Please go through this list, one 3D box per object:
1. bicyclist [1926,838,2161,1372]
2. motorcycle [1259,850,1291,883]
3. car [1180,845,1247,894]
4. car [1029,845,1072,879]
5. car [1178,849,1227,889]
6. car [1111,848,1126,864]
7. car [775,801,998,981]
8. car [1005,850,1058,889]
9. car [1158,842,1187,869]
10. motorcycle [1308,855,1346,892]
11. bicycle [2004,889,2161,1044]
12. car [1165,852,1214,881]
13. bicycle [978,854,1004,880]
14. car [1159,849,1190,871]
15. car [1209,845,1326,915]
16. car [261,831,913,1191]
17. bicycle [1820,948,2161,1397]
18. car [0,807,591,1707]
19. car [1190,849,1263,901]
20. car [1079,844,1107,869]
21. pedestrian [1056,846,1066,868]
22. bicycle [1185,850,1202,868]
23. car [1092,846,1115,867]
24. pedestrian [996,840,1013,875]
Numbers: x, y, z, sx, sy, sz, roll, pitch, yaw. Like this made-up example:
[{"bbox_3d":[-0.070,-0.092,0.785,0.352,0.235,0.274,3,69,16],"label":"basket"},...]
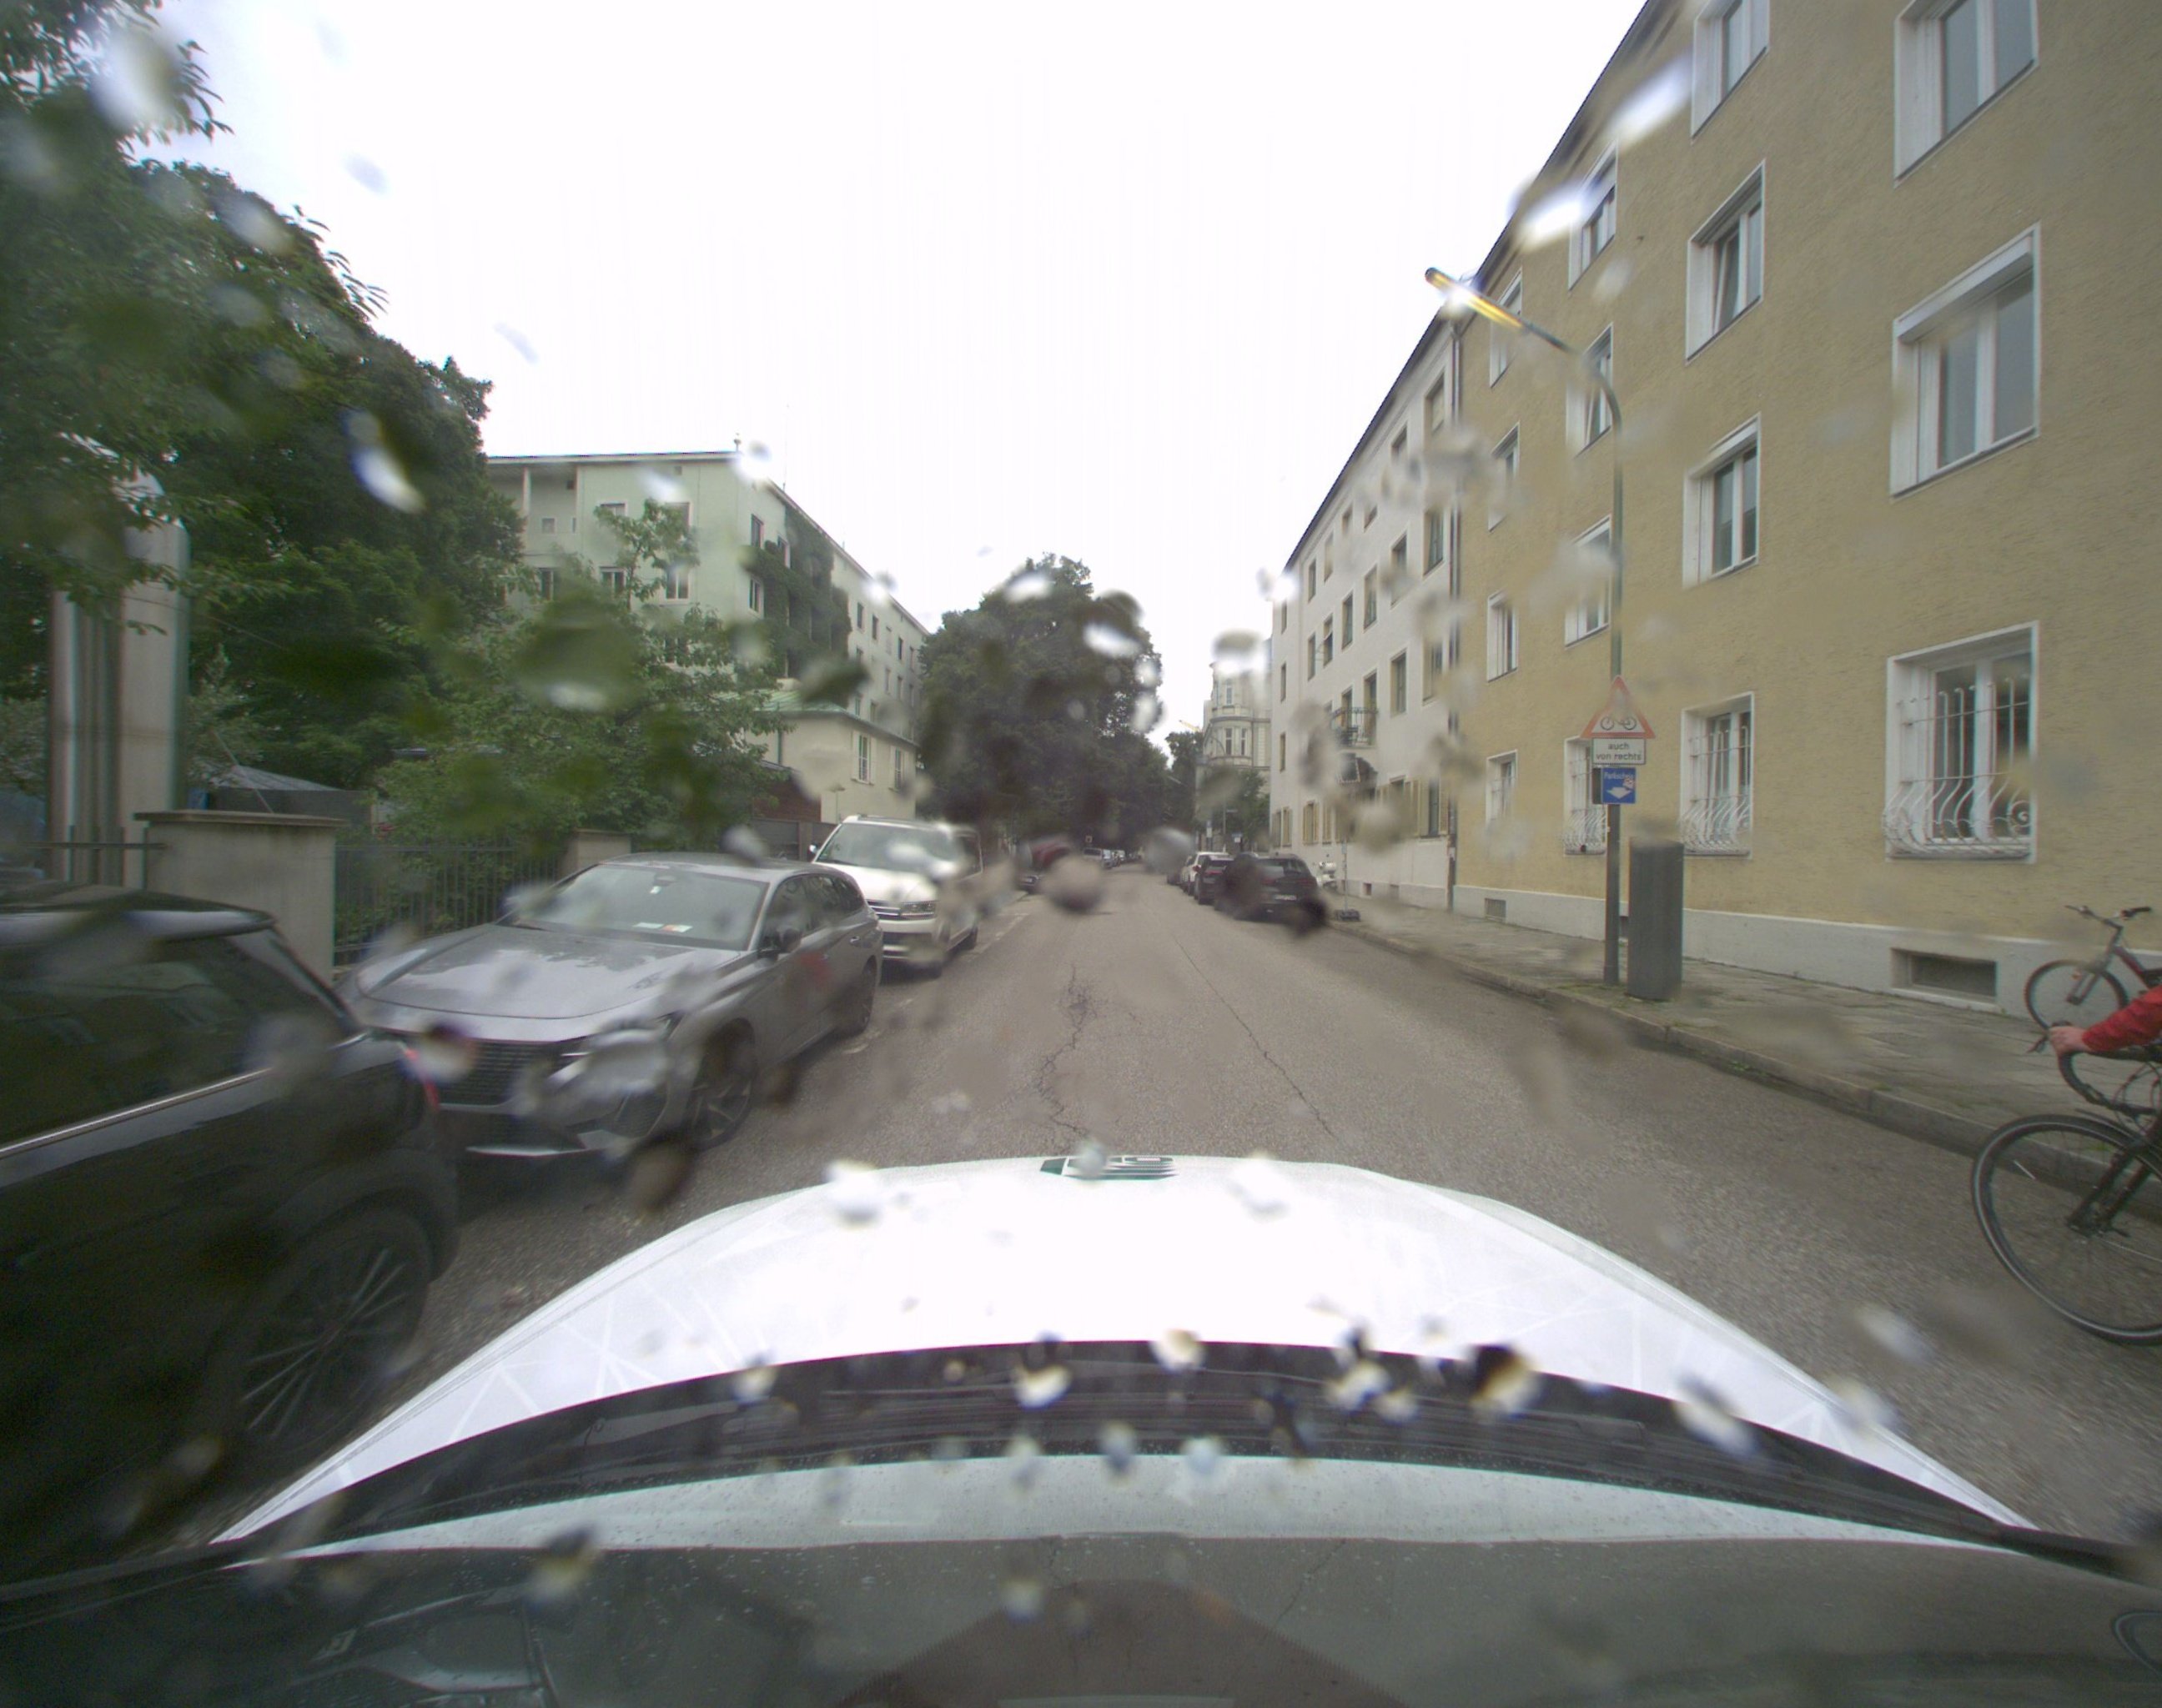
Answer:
[{"bbox_3d":[3.415,0.710,2.436,0.751,1.483,0.982,2,0,4],"label":"bicyclist"},{"bbox_3d":[8.845,0.545,37.207,0.854,1.433,2.707,1,0,1],"label":"motorcycle"},{"bbox_3d":[5.055,0.550,31.573,1.985,1.707,4.537,2,0,3],"label":"car"},{"bbox_3d":[-1.523,0.405,42.358,1.880,1.590,4.530,2,0,2],"label":"car"},{"bbox_3d":[5.351,0.628,36.190,1.763,1.546,3.716,5,0,4],"label":"car"},{"bbox_3d":[5.356,0.286,115.050,1.993,2.186,4.701,2,0,4],"label":"car"},{"bbox_3d":[-2.475,0.418,11.844,1.960,1.990,5.150,2,0,0],"label":"car"},{"bbox_3d":[-1.914,0.561,32.624,1.801,1.402,4.923,2,0,0],"label":"car"},{"bbox_3d":[7.862,0.109,70.108,2.194,2.208,4.859,-1,0,3],"label":"car"},{"bbox_3d":[8.561,0.652,28.415,0.729,1.239,2.008,2,0,1],"label":"motorcycle"},{"bbox_3d":[8.019,0.839,6.013,0.341,1.082,1.814,-2,0,1],"label":"bicycle"},{"bbox_3d":[5.397,0.612,41.073,1.992,1.319,4.598,-2,0,2],"label":"car"},{"bbox_3d":[-3.992,0.566,36.350,0.645,1.130,2.052,0,0,9],"label":"bicycle"},{"bbox_3d":[7.240,0.460,63.160,2.260,1.546,4.595,-1,0,7],"label":"car"},{"bbox_3d":[4.590,0.580,20.836,1.854,1.577,4.898,0,0,0],"label":"car"},{"bbox_3d":[-2.606,0.672,5.869,1.882,1.543,4.694,1,0,-1],"label":"car"},{"bbox_3d":[3.418,0.977,2.441,0.669,1.141,2.013,2,0,4],"label":"bicycle"},{"bbox_3d":[-2.757,0.713,0.779,1.851,1.544,4.191,-1,0,3],"label":"car"},{"bbox_3d":[4.580,0.610,26.279,1.830,1.531,4.420,0,0,3],"label":"car"},{"bbox_3d":[1.108,0.208,70.456,2.239,1.956,5.456,2,0,2],"label":"car"},{"bbox_3d":[-1.441,0.203,58.933,0.711,1.548,0.752,2,0,-1],"label":"pedestrian"},{"bbox_3d":[9.592,0.439,69.485,0.708,1.515,2.030,0,0,-12],"label":"bicycle"},{"bbox_3d":[2.326,0.261,82.135,2.175,1.956,5.169,2,0,2],"label":"car"},{"bbox_3d":[-4.110,0.166,43.770,0.709,1.852,0.797,2,0,3],"label":"pedestrian"}]
